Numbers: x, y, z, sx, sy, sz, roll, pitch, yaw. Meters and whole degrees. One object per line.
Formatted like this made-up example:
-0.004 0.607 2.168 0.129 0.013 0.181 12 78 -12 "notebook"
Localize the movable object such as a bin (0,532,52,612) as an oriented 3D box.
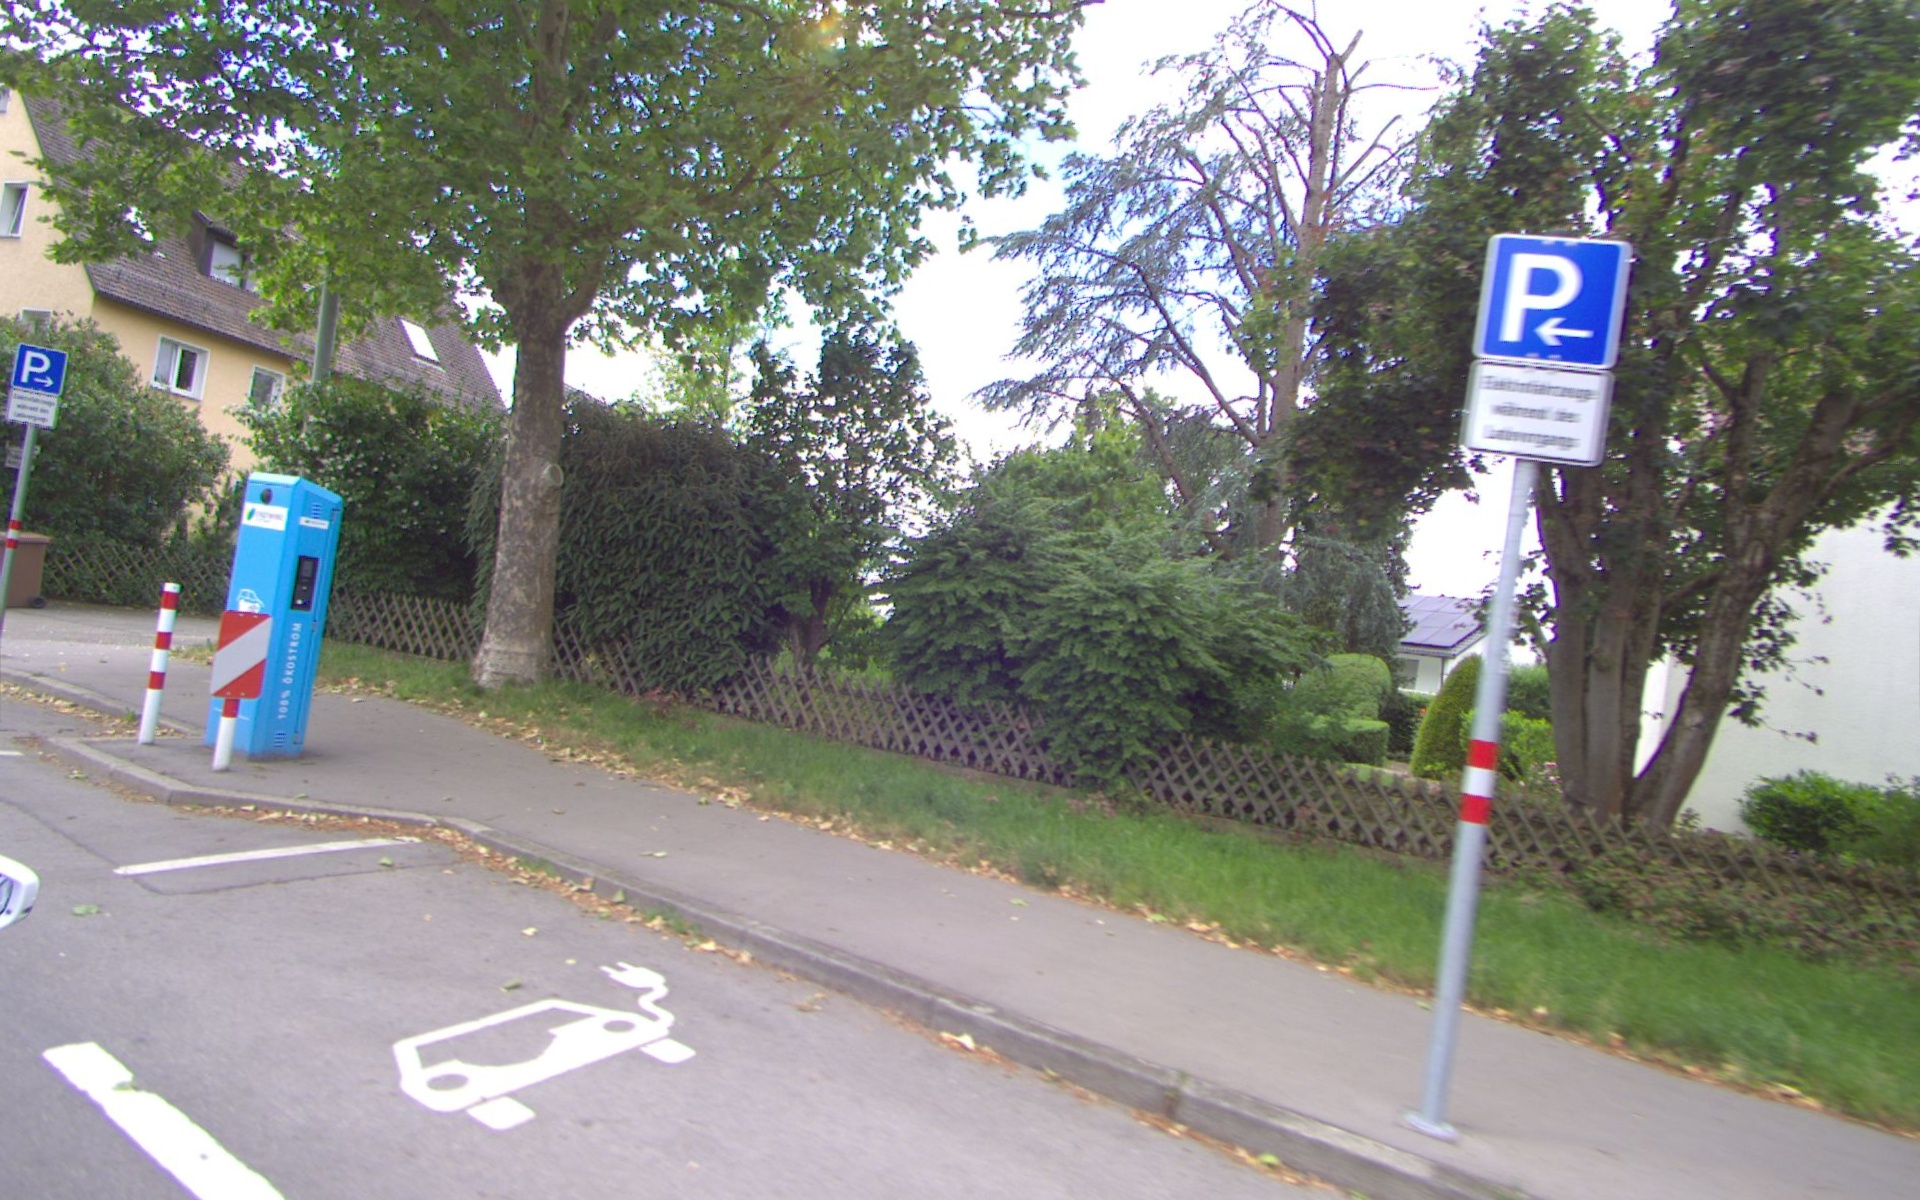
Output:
-13.745 -0.416 14.599 0.559 1.081 0.605 7 -2 31 "movable object such as a bin"
